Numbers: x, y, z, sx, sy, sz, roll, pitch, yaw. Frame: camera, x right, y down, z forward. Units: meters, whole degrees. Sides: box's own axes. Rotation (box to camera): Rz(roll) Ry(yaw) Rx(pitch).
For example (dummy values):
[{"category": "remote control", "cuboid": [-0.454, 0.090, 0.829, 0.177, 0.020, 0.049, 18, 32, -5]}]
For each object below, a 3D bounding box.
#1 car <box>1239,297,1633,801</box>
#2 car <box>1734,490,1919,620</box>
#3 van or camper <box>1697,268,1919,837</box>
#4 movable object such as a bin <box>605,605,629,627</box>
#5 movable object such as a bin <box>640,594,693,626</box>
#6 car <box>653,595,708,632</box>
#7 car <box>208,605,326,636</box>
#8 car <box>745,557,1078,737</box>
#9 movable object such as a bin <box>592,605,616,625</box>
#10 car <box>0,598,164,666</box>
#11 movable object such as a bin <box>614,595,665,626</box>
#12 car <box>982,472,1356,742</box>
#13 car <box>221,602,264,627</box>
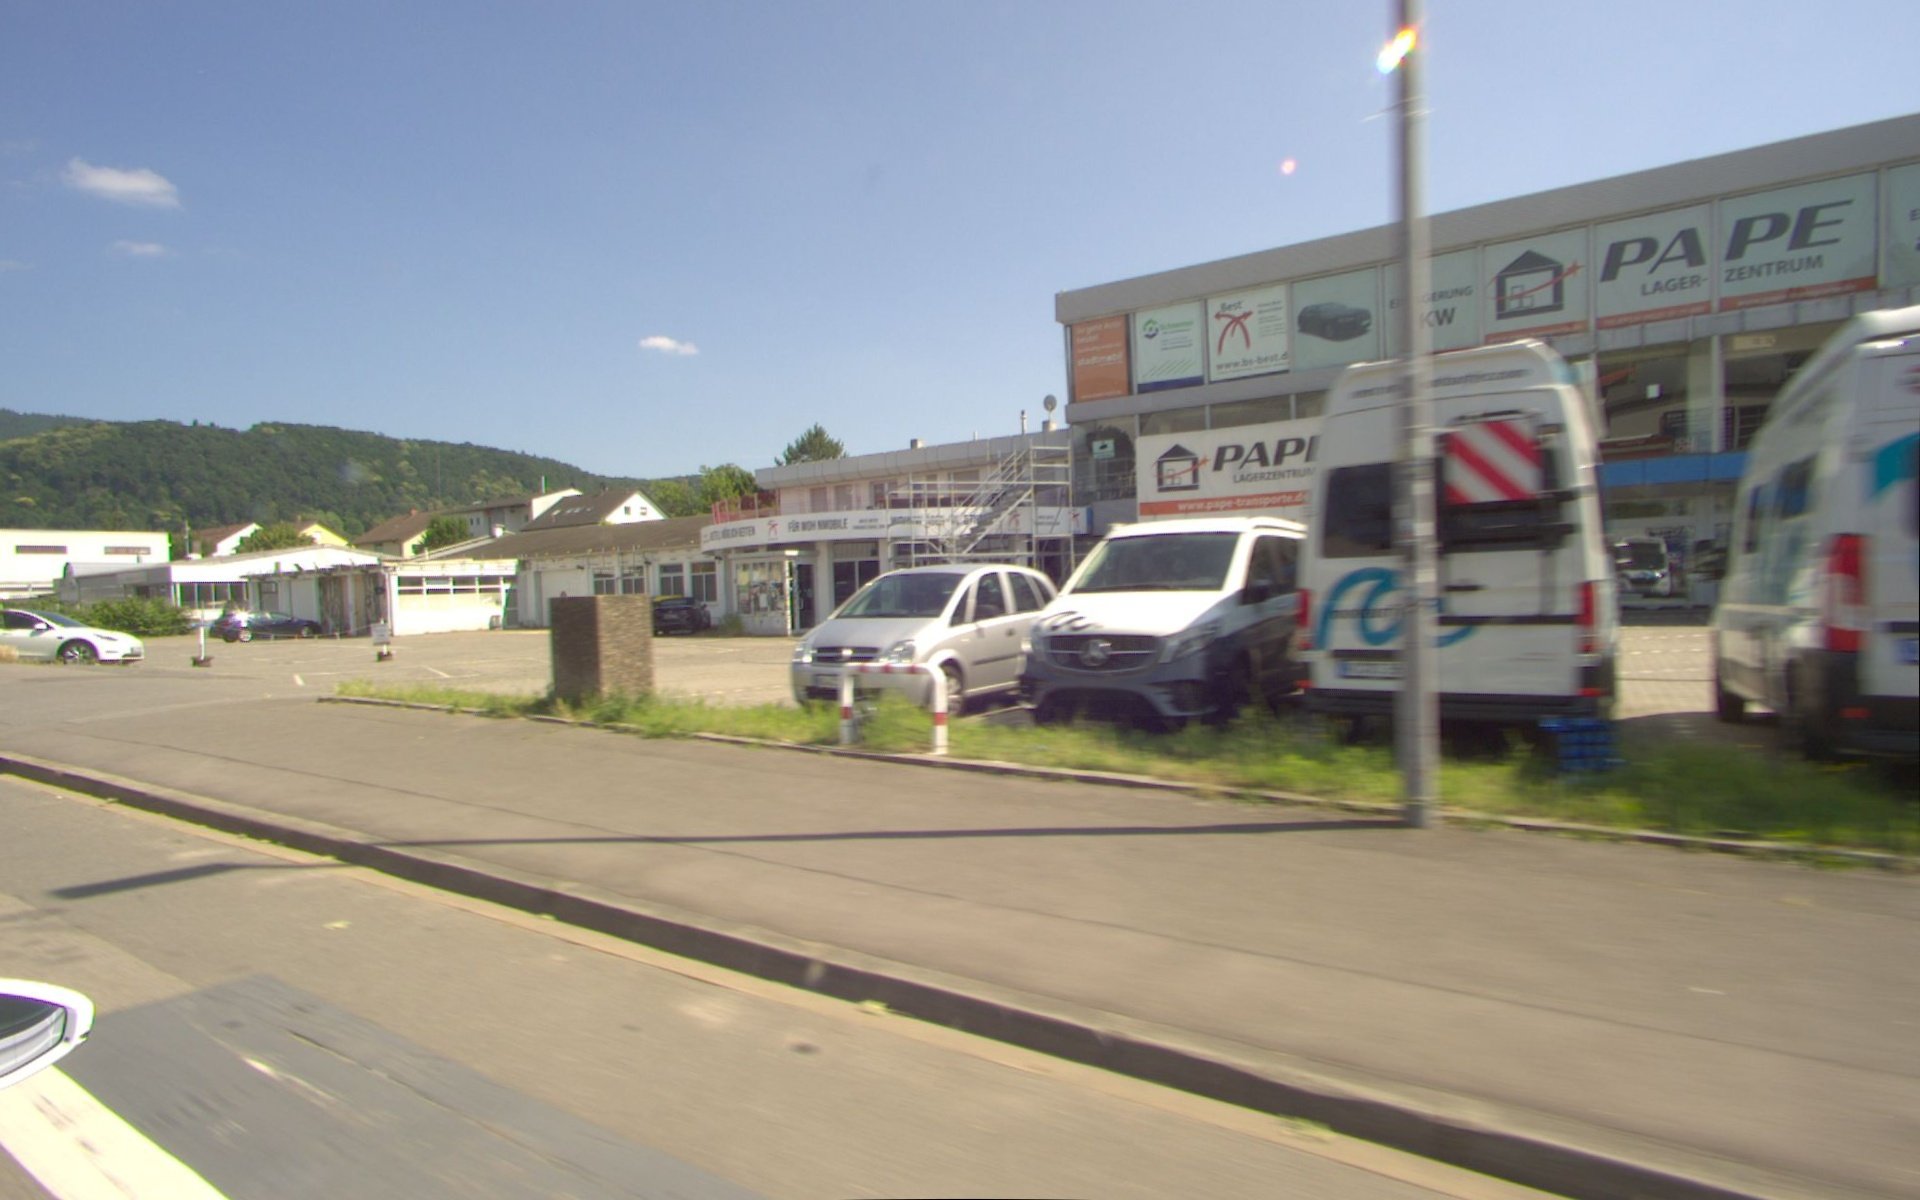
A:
[{"category": "car", "cuboid": [4.600, -0.357, 9.035, 2.287, 2.908, 6.211, 0, 2, 33]}, {"category": "car", "cuboid": [18.495, -0.911, 21.630, 2.293, 2.452, 5.283, 0, 2, 32]}, {"category": "van or camper", "cuboid": [7.079, -0.303, 6.988, 2.674, 2.737, 6.332, 0, 2, 33]}, {"category": "movable object such as a bin", "cuboid": [-17.005, 0.789, 49.651, 0.863, 1.050, 0.745, 0, 1, 29]}, {"category": "movable object such as a bin", "cuboid": [-13.765, 0.446, 47.022, 1.797, 1.475, 1.568, 0, 1, 29]}, {"category": "car", "cuboid": [-10.480, 0.524, 37.622, 1.861, 1.307, 4.548, 0, -1, -15]}, {"category": "car", "cuboid": [-34.024, 0.971, 49.254, 2.092, 1.417, 4.313, 0, 1, 36]}, {"category": "car", "cuboid": [-0.338, 0.412, 11.101, 1.772, 1.614, 3.913, 0, 1, 32]}, {"category": "movable object such as a bin", "cuboid": [-17.839, 0.754, 50.156, 0.863, 1.005, 0.745, 0, 1, 29]}, {"category": "car", "cuboid": [-24.393, 0.859, 26.360, 4.955, 1.640, 2.023, -1, -4, -15]}, {"category": "movable object such as a bin", "cuboid": [-15.333, 0.492, 47.918, 1.728, 1.475, 1.568, 0, 1, 29]}, {"category": "car", "cuboid": [2.421, -0.045, 10.068, 1.971, 1.979, 5.220, 0, 2, 32]}, {"category": "car", "cuboid": [-52.262, 1.049, 72.985, 1.970, 1.669, 3.981, 0, 1, -27]}]
